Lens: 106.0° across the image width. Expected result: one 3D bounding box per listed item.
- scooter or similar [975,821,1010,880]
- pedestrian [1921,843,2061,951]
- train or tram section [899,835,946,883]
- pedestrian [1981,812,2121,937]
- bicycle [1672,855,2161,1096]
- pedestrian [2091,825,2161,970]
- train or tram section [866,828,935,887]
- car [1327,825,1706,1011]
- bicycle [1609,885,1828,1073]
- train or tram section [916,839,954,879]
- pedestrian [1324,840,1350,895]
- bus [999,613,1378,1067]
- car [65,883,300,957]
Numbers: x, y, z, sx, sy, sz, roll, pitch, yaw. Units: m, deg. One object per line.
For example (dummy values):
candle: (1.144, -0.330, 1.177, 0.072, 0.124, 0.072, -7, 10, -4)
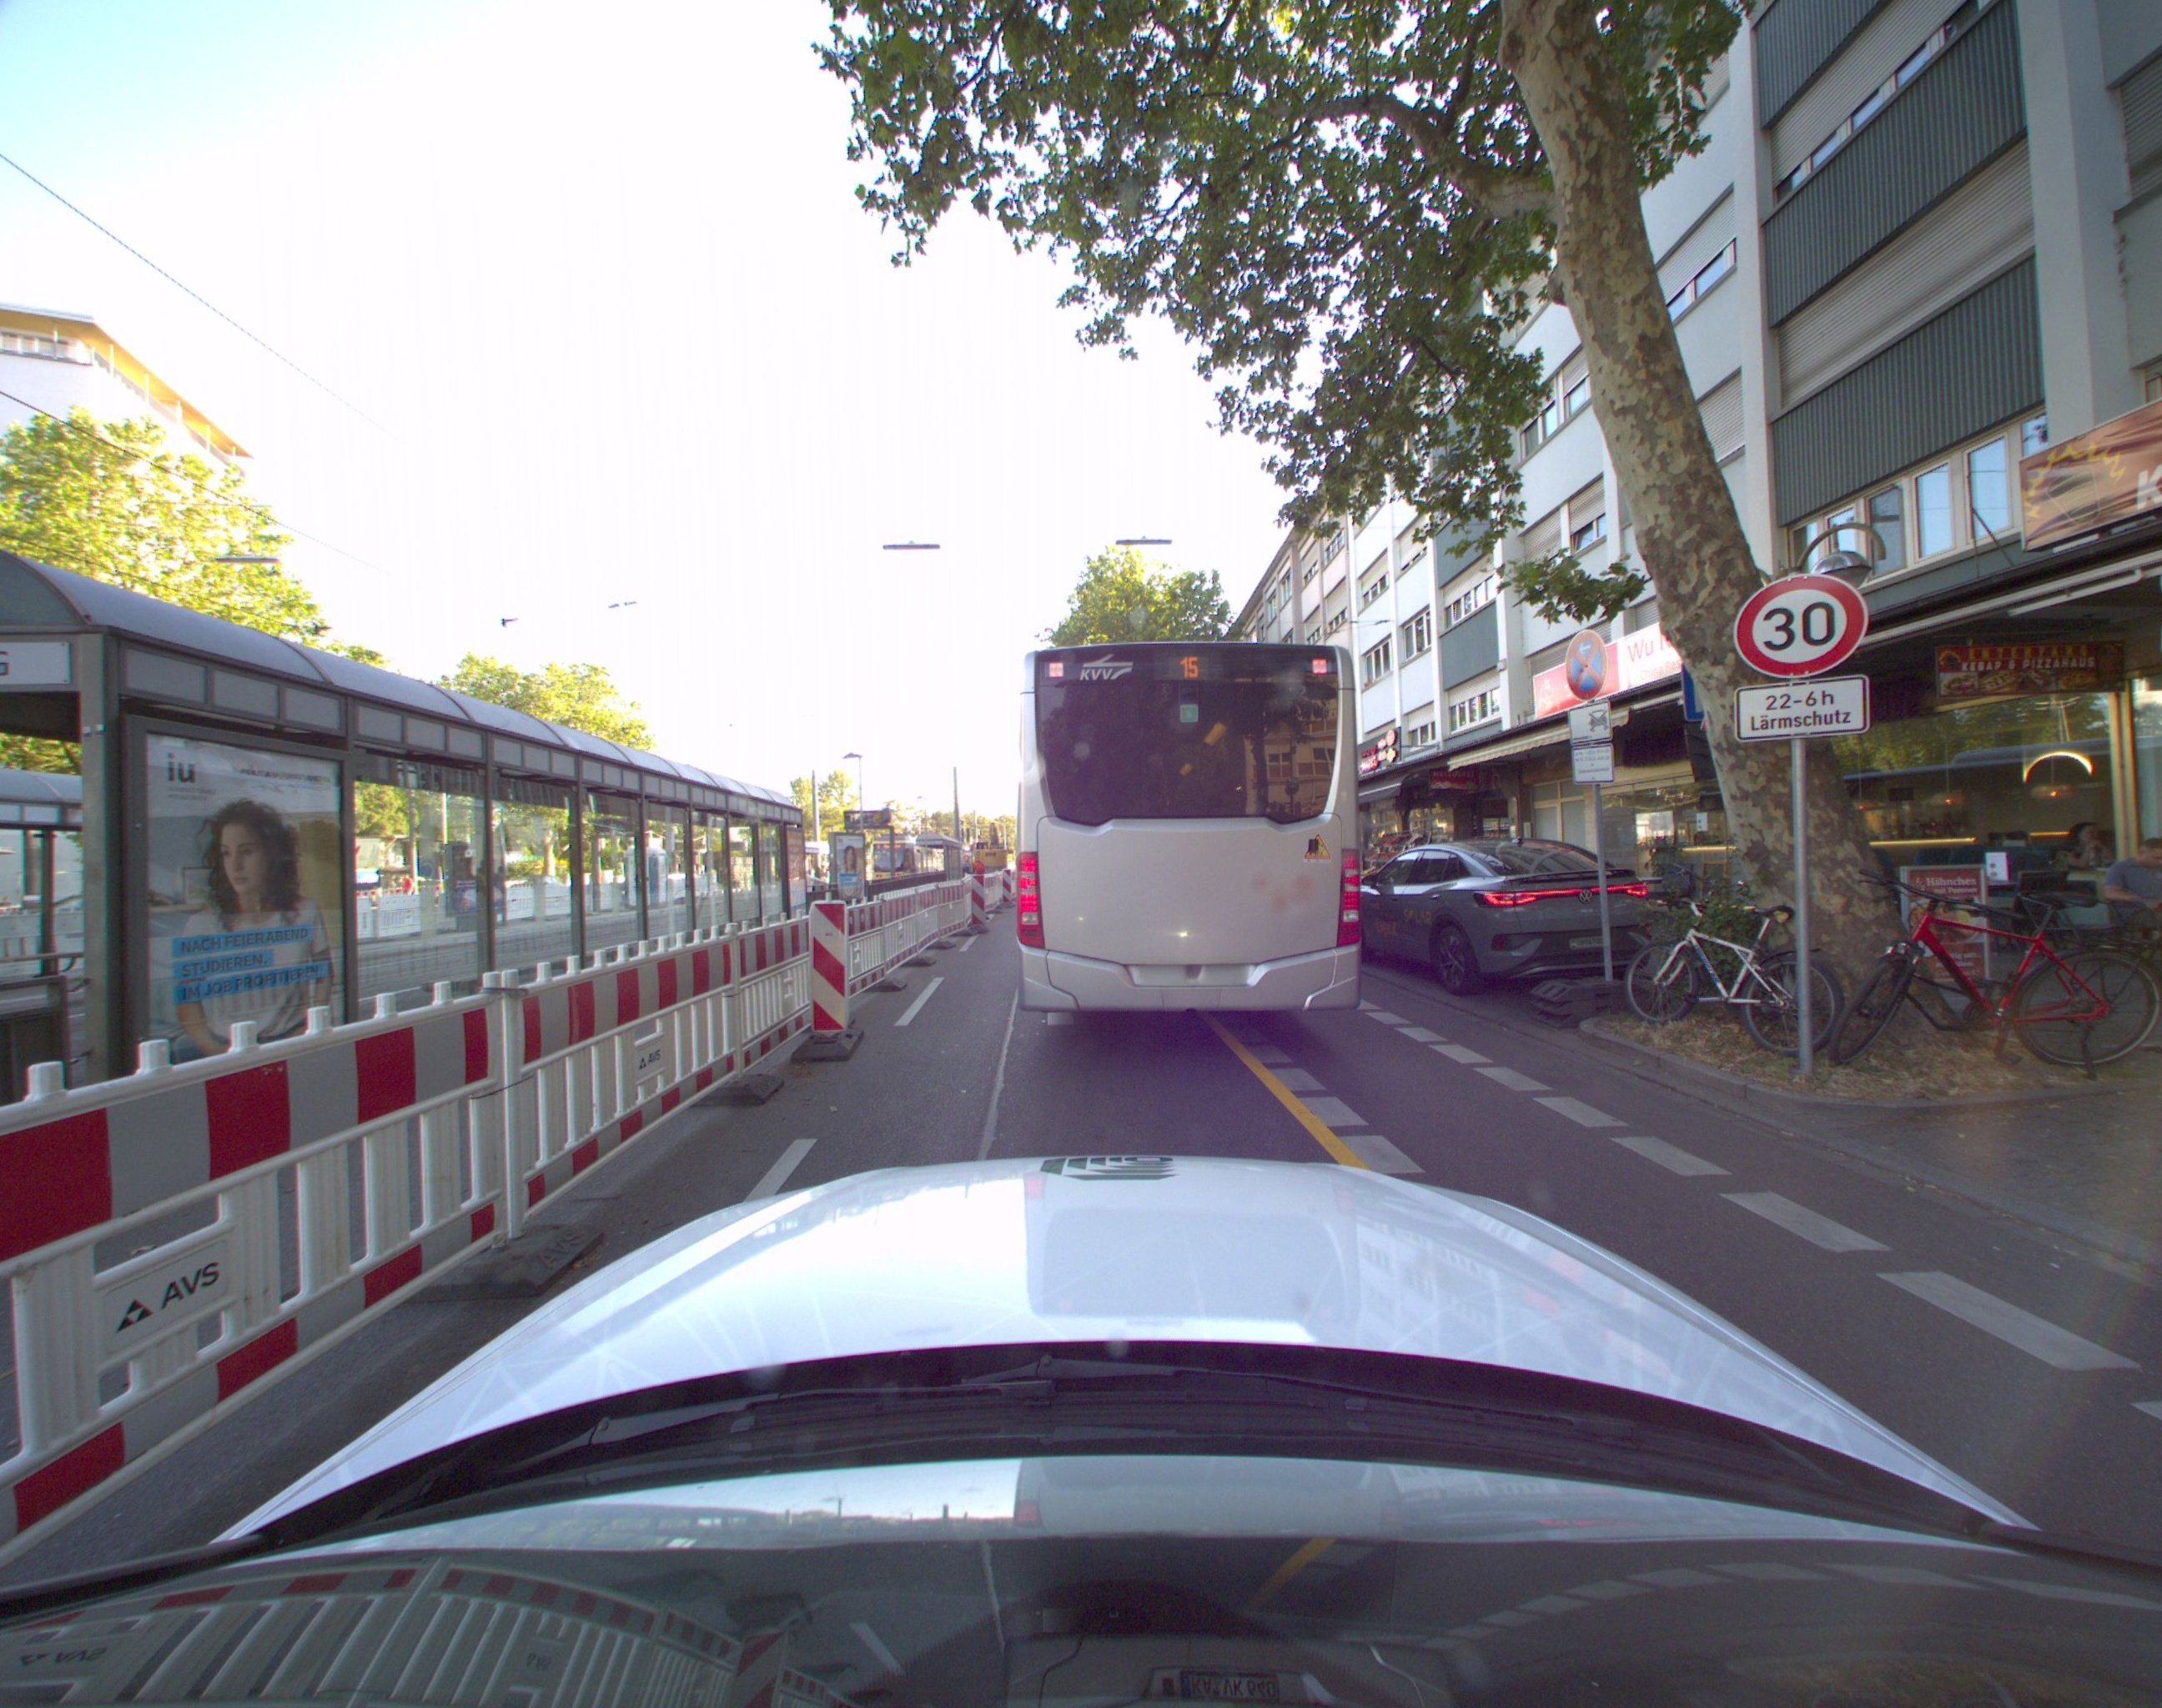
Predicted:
scooter or similar: (-6.975, -0.245, 64.786, 2.465, 4.471, 5.961, -2, -1, -5)
pedestrian: (9.859, 0.449, 8.836, 0.643, 1.081, 0.945, -2, -1, -39)
train or tram section: (-12.787, 0.421, 66.560, 2.682, 3.558, 11.559, 0, -1, -5)
pedestrian: (11.103, 0.222, 9.346, 0.836, 1.333, 0.963, -2, -1, -39)
bicycle: (5.056, 0.720, 4.828, 2.370, 1.155, 0.557, -7, -2, 14)
pedestrian: (9.687, 0.373, 7.217, 0.555, 1.245, 0.692, -4, 0, 8)
train or tram section: (-11.910, 0.284, 54.921, 2.681, 3.534, 11.756, 0, -1, -3)
car: (4.734, 0.589, 9.770, 1.989, 1.582, 4.364, -4, 0, -3)
bicycle: (4.572, 0.834, 5.969, 0.550, 1.155, 1.446, -2, -1, 6)
train or tram section: (-13.873, 0.515, 78.085, 2.683, 3.533, 11.558, 0, -1, -6)
pedestrian: (8.027, 0.431, 25.541, 0.658, 1.666, 0.603, -4, -1, 18)
bus: (0.868, -0.072, 9.622, 2.601, 3.126, 7.996, 0, 0, 2)
car: (-24.318, 1.720, 22.296, 1.988, 1.662, 3.997, -2, 0, -1)
